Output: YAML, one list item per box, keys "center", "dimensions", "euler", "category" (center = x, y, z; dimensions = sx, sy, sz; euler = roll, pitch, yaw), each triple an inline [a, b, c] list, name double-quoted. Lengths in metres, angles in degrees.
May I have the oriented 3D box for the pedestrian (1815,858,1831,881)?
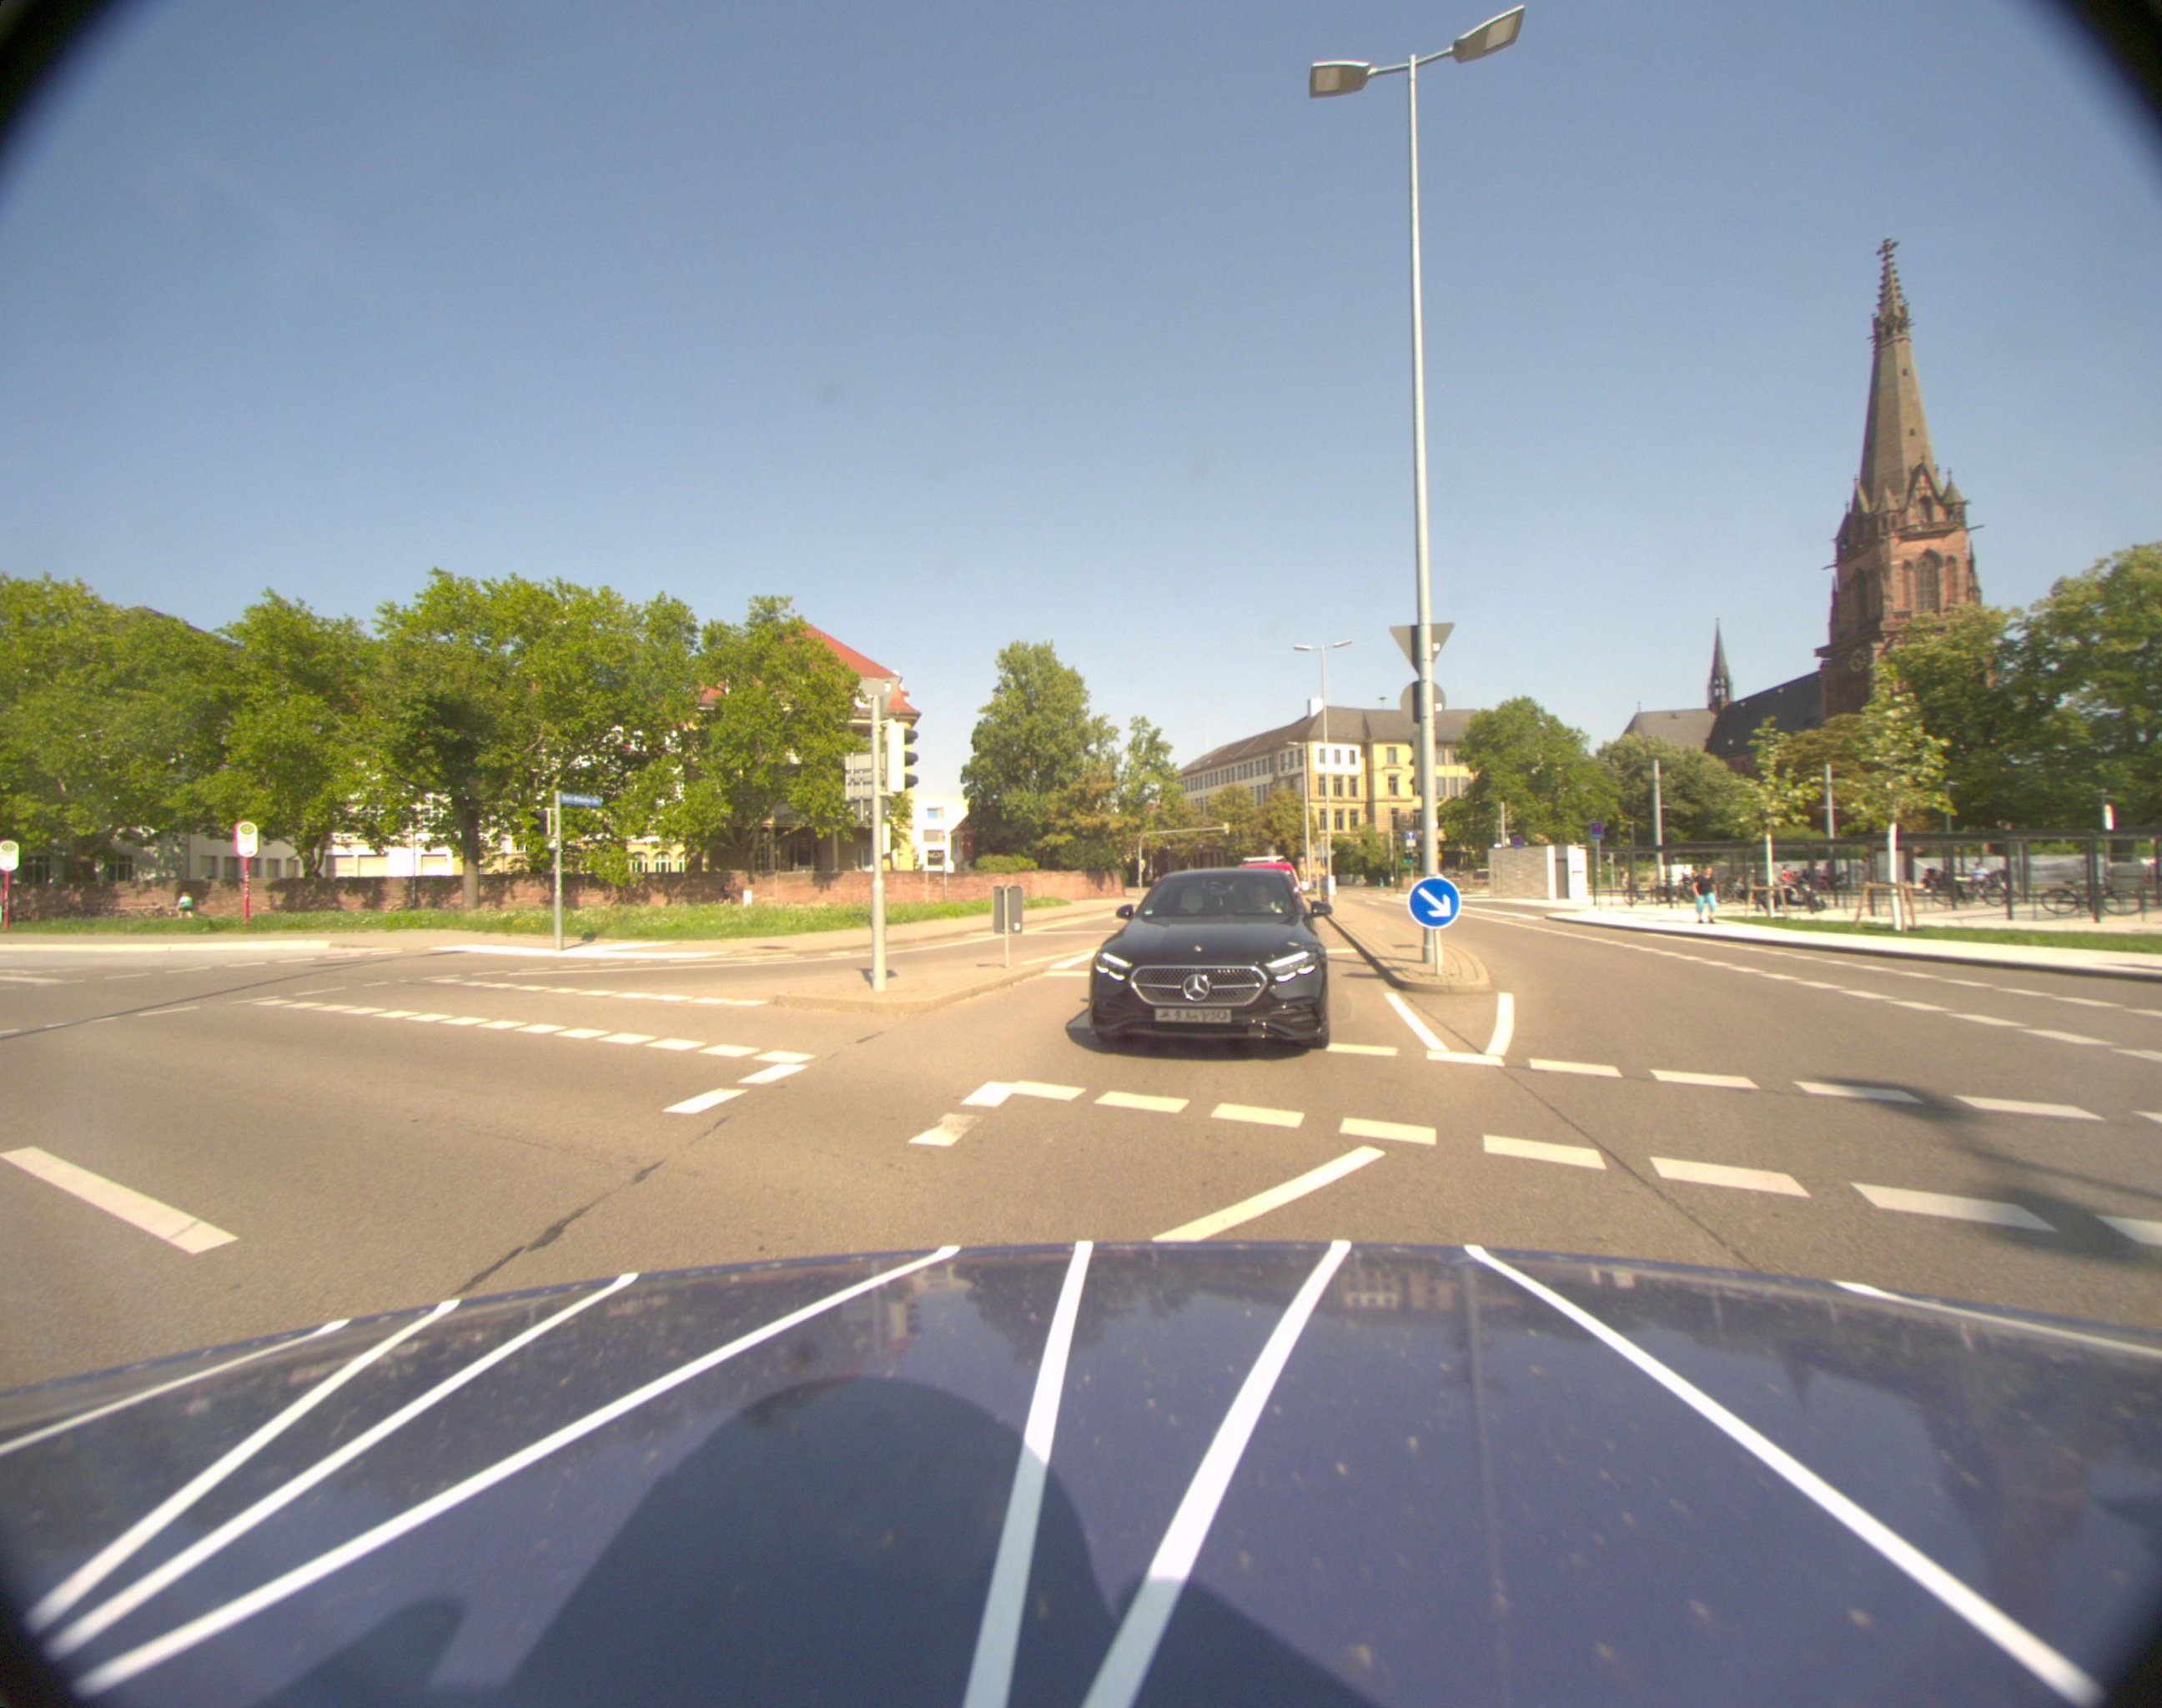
- center: [41.564, 0.878, 42.553]
  dimensions: [0.440, 1.217, 0.382]
  euler: [-3, -2, -18]
  category: "pedestrian"

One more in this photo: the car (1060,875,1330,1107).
- center: [1.442, 0.976, 7.538]
  dimensions: [1.822, 1.431, 4.880]
  euler: [-1, -1, 17]
  category: "car"

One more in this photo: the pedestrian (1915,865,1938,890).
- center: [41.874, 1.166, 37.635]
  dimensions: [0.468, 1.190, 0.573]
  euler: [-1, -1, -18]
  category: "pedestrian"

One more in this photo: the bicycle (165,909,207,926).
- center: [-47.496, 3.352, 40.316]
  dimensions: [1.550, 0.830, 0.434]
  euler: [-1, -1, -7]
  category: "bicycle"

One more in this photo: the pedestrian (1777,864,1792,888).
- center: [40.400, 1.265, 43.623]
  dimensions: [0.394, 1.309, 0.415]
  euler: [-3, -2, -14]
  category: "pedestrian"

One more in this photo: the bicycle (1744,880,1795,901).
- center: [28.971, 1.524, 31.999]
  dimensions: [0.410, 0.887, 1.586]
  euler: [-1, -1, -18]
  category: "bicycle"

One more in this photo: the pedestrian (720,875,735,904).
- center: [-20.901, 2.102, 44.905]
  dimensions: [0.718, 1.673, 0.594]
  euler: [-1, -1, -16]
  category: "pedestrian"

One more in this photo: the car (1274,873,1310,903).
- center: [11.018, 1.759, 39.856]
  dimensions: [1.718, 1.424, 3.865]
  euler: [-1, -1, 14]
  category: "car"

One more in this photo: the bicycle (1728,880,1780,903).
- center: [27.804, 1.541, 31.405]
  dimensions: [0.410, 0.887, 1.586]
  euler: [-1, -1, -18]
  category: "bicycle"

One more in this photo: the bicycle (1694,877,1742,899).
- center: [28.421, 1.501, 33.919]
  dimensions: [0.453, 0.971, 1.586]
  euler: [-2, -1, -18]
  category: "bicycle"

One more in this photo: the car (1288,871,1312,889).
- center: [20.174, 2.384, 70.030]
  dimensions: [1.996, 1.542, 4.005]
  euler: [-1, -1, 16]
  category: "car"

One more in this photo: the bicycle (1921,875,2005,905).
- center: [31.084, 1.257, 26.817]
  dimensions: [0.462, 1.003, 1.872]
  euler: [-1, -1, -18]
  category: "bicycle"

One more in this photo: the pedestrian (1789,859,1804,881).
- center: [40.963, 0.934, 43.489]
  dimensions: [0.440, 1.217, 0.382]
  euler: [-3, -2, -18]
  category: "pedestrian"

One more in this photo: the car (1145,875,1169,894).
- center: [9.235, 3.711, 92.557]
  dimensions: [2.000, 2.118, 4.246]
  euler: [-3, -2, -7]
  category: "car"

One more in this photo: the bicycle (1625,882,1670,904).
- center: [23.985, 1.639, 32.195]
  dimensions: [0.401, 0.887, 1.586]
  euler: [-1, -1, -18]
  category: "bicycle"

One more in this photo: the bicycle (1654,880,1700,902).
- center: [25.736, 1.593, 32.819]
  dimensions: [0.401, 0.887, 1.586]
  euler: [-1, -1, -18]
  category: "bicycle"

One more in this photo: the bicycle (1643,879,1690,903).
- center: [25.079, 1.575, 32.574]
  dimensions: [0.422, 0.961, 1.586]
  euler: [-1, -1, -18]
  category: "bicycle"

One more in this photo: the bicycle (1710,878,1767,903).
- center: [26.824, 1.468, 31.046]
  dimensions: [0.534, 0.981, 1.711]
  euler: [-1, -1, -18]
  category: "bicycle"

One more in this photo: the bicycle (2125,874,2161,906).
- center: [33.828, 1.117, 23.497]
  dimensions: [0.401, 1.003, 1.743]
  euler: [-1, -1, -18]
  category: "bicycle"

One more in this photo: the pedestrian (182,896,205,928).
- center: [-46.145, 3.016, 39.505]
  dimensions: [0.594, 1.641, 0.483]
  euler: [-3, -2, -6]
  category: "pedestrian"

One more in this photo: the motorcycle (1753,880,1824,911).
- center: [24.632, 1.426, 26.473]
  dimensions: [0.543, 1.003, 1.743]
  euler: [-1, -1, -18]
  category: "motorcycle"

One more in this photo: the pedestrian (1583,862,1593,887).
- center: [35.475, 1.444, 53.142]
  dimensions: [0.517, 1.697, 0.505]
  euler: [-1, 0, 39]
  category: "pedestrian"

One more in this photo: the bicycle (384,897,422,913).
- center: [-37.274, 2.800, 41.784]
  dimensions: [1.550, 0.830, 0.434]
  euler: [-1, -1, -9]
  category: "bicycle"

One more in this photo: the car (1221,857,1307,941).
- center: [4.593, 1.065, 18.654]
  dimensions: [1.734, 1.808, 4.284]
  euler: [-1, -2, 17]
  category: "car"

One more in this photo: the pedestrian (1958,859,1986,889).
- center: [42.266, 0.959, 36.033]
  dimensions: [0.663, 1.386, 0.643]
  euler: [-1, -1, -21]
  category: "pedestrian"

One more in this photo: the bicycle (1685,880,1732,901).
- center: [27.436, 1.581, 33.252]
  dimensions: [0.401, 0.887, 1.586]
  euler: [-1, -1, -18]
  category: "bicycle"

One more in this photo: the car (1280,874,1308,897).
- center: [13.402, 1.936, 47.734]
  dimensions: [1.604, 1.320, 4.339]
  euler: [-2, -1, 16]
  category: "car"

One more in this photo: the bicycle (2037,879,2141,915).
- center: [28.959, 1.213, 21.872]
  dimensions: [0.401, 1.003, 1.743]
  euler: [-1, -1, -18]
  category: "bicycle"

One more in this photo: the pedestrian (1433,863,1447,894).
- center: [23.072, 1.580, 48.893]
  dimensions: [0.732, 2.001, 0.715]
  euler: [-1, -1, 21]
  category: "pedestrian"

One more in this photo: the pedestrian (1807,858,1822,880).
- center: [41.752, 0.879, 43.246]
  dimensions: [0.440, 1.217, 0.382]
  euler: [-3, -2, -18]
  category: "pedestrian"

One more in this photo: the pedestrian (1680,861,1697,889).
- center: [38.077, 1.308, 47.634]
  dimensions: [0.716, 1.738, 0.389]
  euler: [-1, -1, 13]
  category: "pedestrian"

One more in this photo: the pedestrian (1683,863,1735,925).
- center: [15.923, 1.010, 19.283]
  dimensions: [0.753, 1.555, 0.667]
  euler: [0, -1, -2]
  category: "pedestrian"

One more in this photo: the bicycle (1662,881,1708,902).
- center: [26.216, 1.606, 33.018]
  dimensions: [0.410, 0.887, 1.586]
  euler: [-1, -1, -18]
  category: "bicycle"
